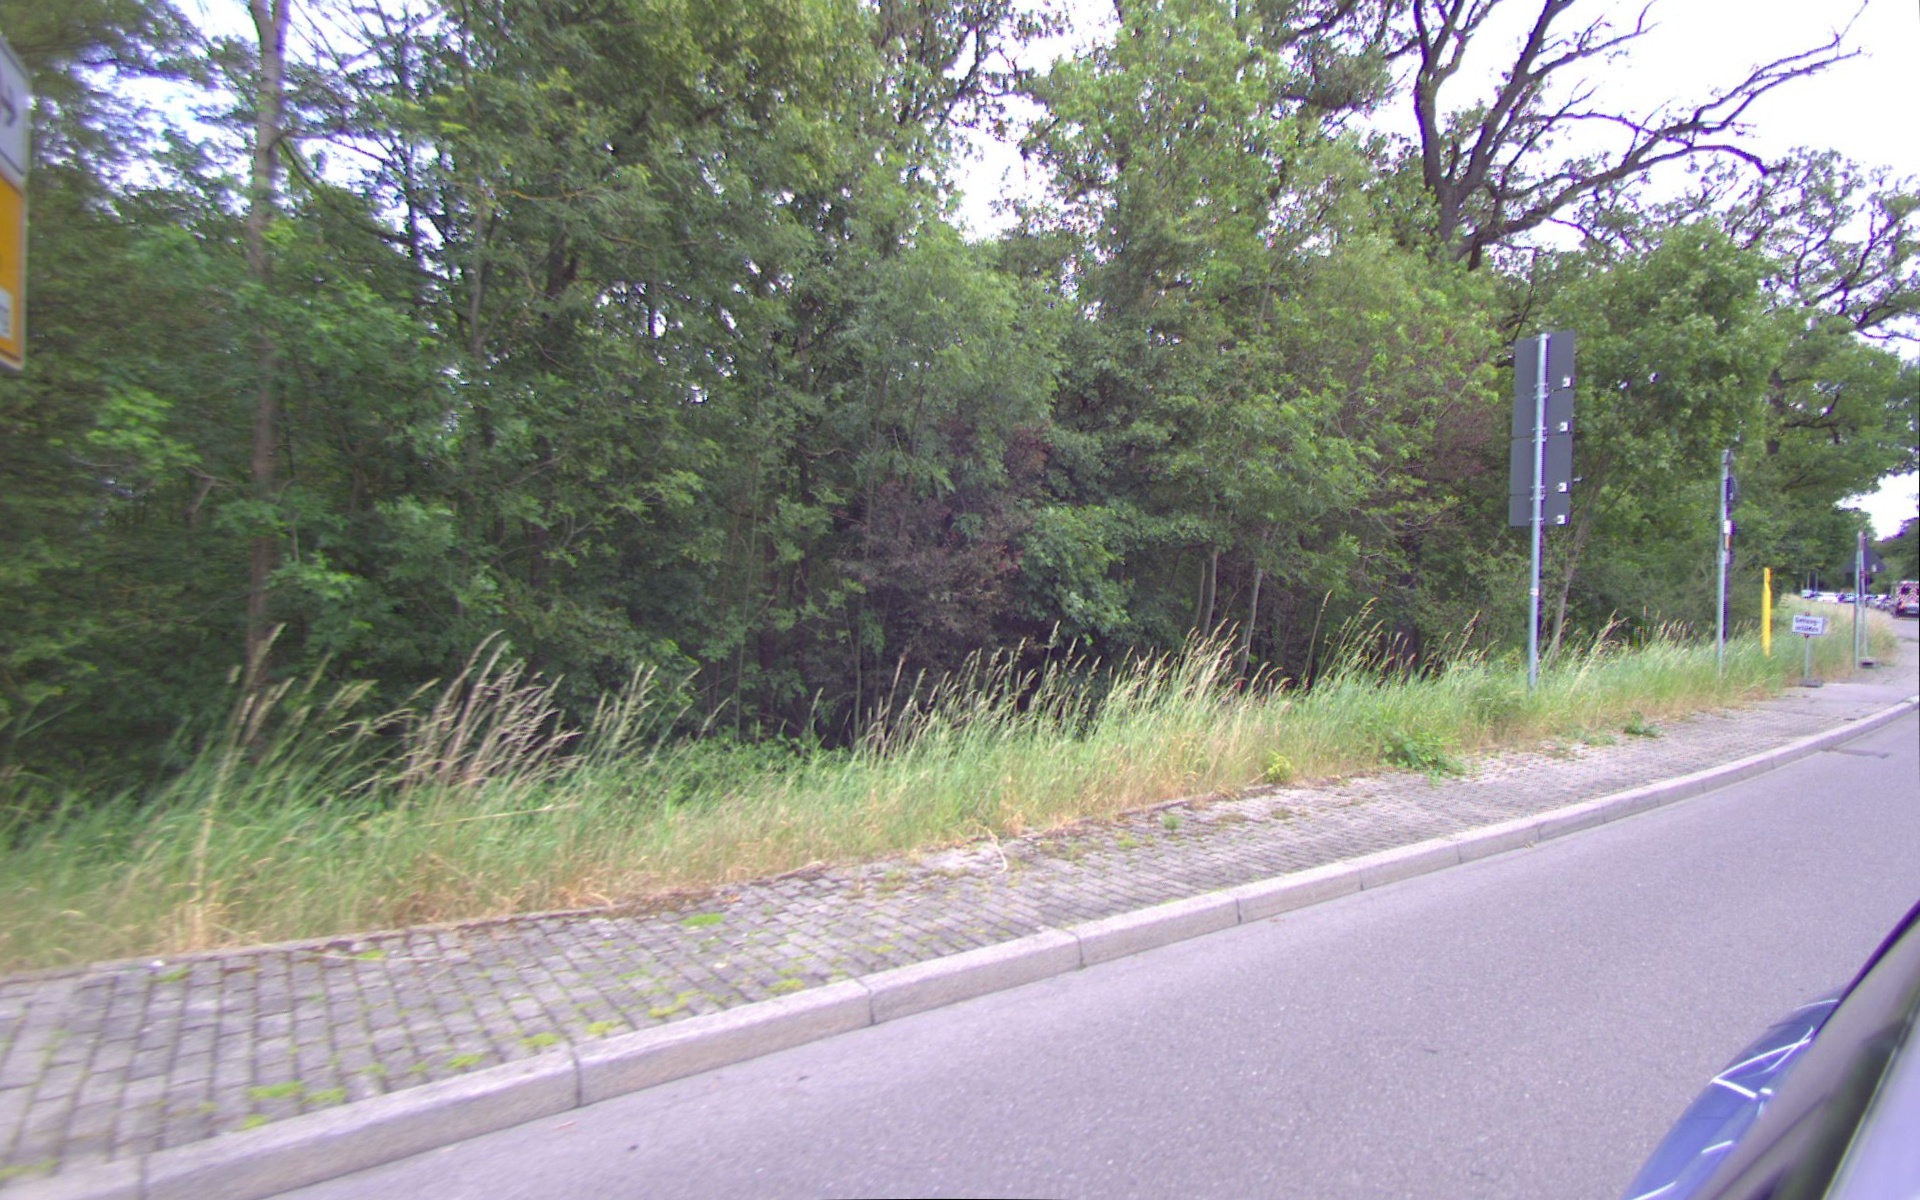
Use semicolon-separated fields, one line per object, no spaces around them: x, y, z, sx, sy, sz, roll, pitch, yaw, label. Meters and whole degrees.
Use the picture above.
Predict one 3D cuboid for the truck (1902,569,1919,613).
81.805;-0.769;85.473;2.996;3.685;6.984;0;0;41;truck
